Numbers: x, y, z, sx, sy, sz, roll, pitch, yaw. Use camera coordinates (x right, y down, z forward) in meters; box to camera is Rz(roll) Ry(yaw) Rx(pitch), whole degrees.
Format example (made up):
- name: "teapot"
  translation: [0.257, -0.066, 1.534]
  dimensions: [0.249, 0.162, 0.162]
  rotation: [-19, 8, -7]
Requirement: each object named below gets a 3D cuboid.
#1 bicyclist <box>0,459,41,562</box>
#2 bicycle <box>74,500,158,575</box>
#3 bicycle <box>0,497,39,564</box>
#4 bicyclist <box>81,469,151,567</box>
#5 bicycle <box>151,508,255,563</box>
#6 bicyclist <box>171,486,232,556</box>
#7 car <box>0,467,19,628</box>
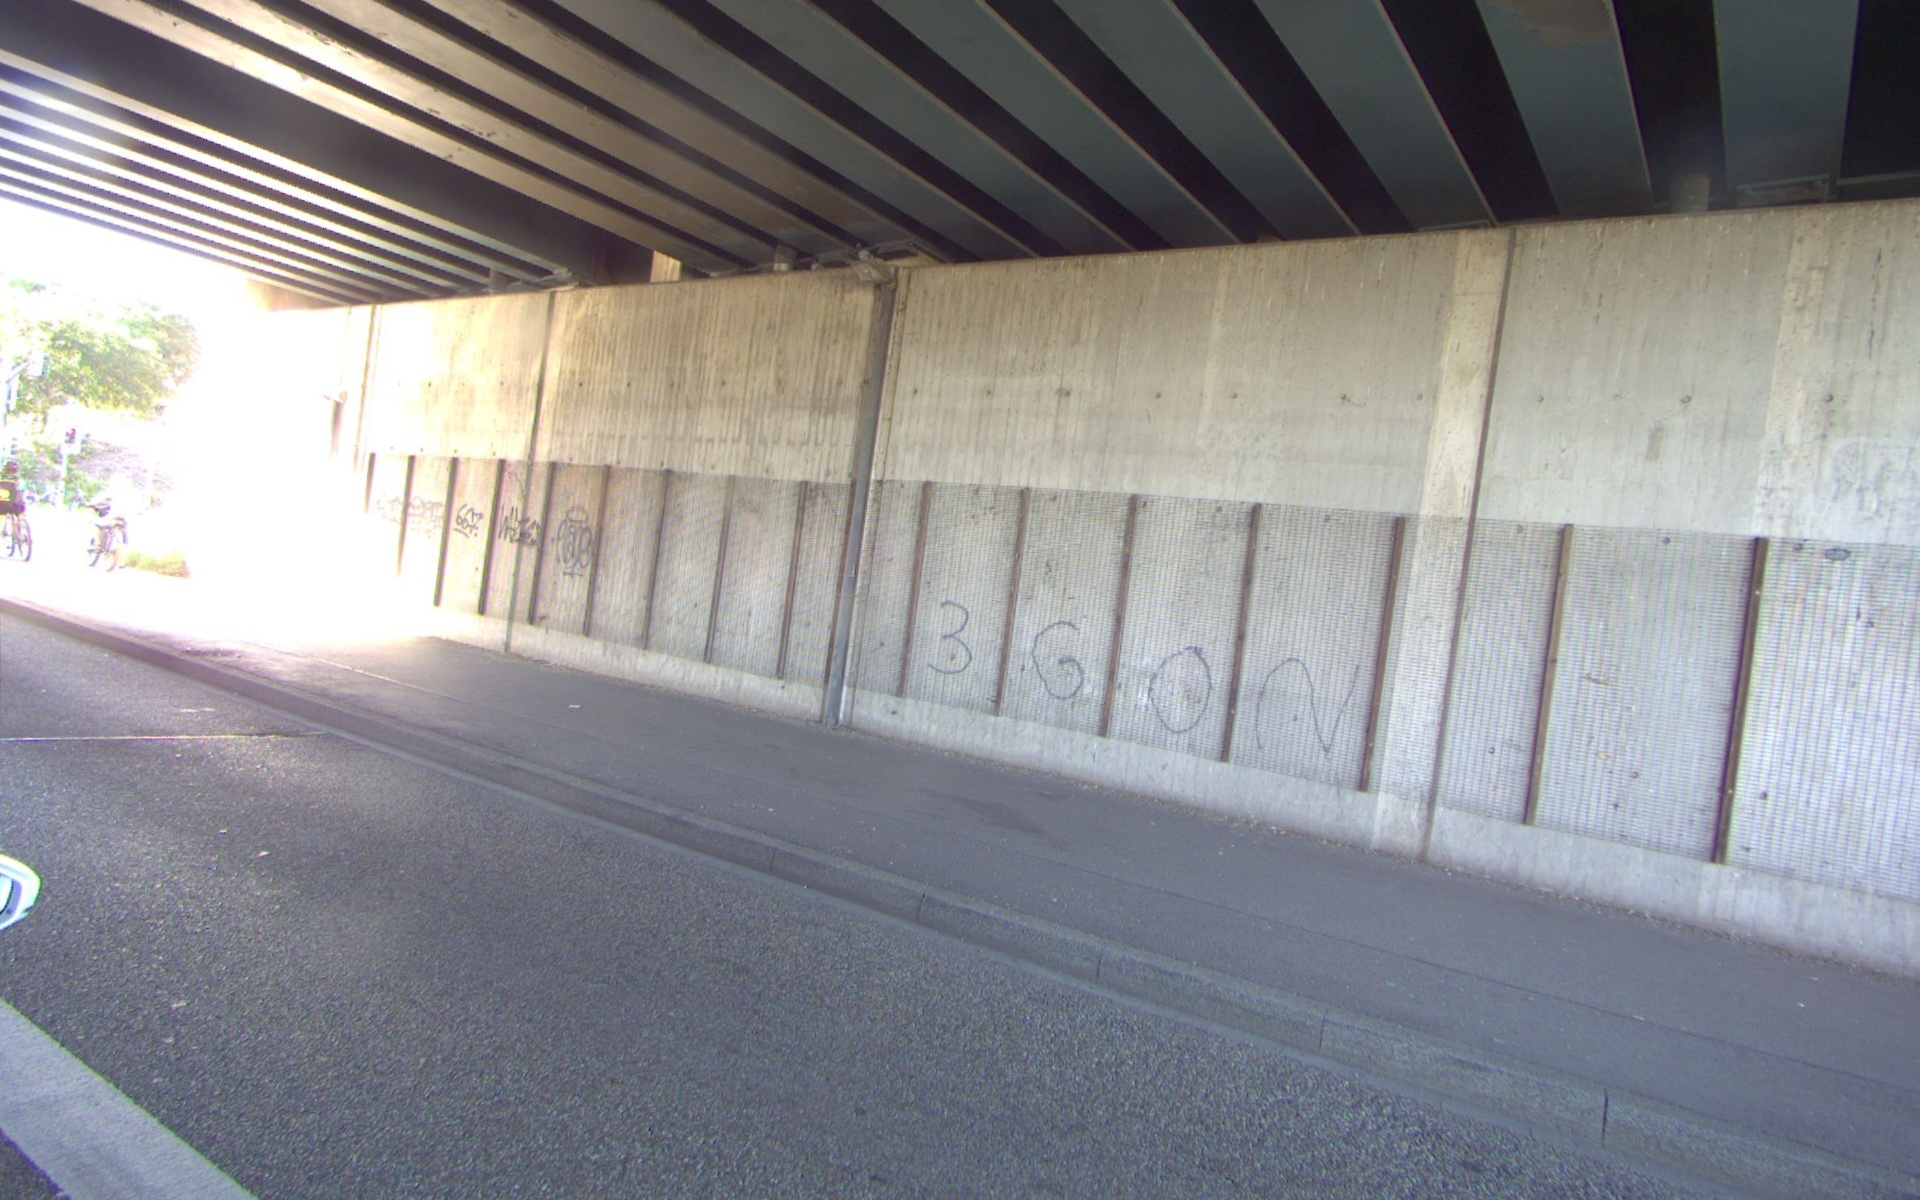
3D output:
- name: "bicyclist"
  translation: [-16.094, -1.522, 16.958]
  dimensions: [0.635, 1.647, 0.676]
  rotation: [6, -2, 42]
- name: "bicycle"
  translation: [-14.628, -1.088, 17.422]
  dimensions: [1.579, 1.126, 0.681]
  rotation: [6, 0, 37]
- name: "bicycle"
  translation: [-16.122, -1.201, 16.946]
  dimensions: [1.508, 1.036, 0.676]
  rotation: [6, -2, 43]
- name: "bicyclist"
  translation: [-14.641, -1.427, 17.457]
  dimensions: [0.724, 1.581, 0.670]
  rotation: [7, 0, 37]
- name: "bicycle"
  translation: [-20.126, -1.681, 26.834]
  dimensions: [0.753, 1.159, 2.470]
  rotation: [7, -1, 1]
- name: "bicyclist"
  translation: [-20.086, -2.075, 26.666]
  dimensions: [0.735, 1.675, 0.886]
  rotation: [7, 0, 1]
- name: "car"
  translation: [-11.711, -0.760, 10.167]
  dimensions: [4.347, 1.570, 1.997]
  rotation: [6, -1, 31]
